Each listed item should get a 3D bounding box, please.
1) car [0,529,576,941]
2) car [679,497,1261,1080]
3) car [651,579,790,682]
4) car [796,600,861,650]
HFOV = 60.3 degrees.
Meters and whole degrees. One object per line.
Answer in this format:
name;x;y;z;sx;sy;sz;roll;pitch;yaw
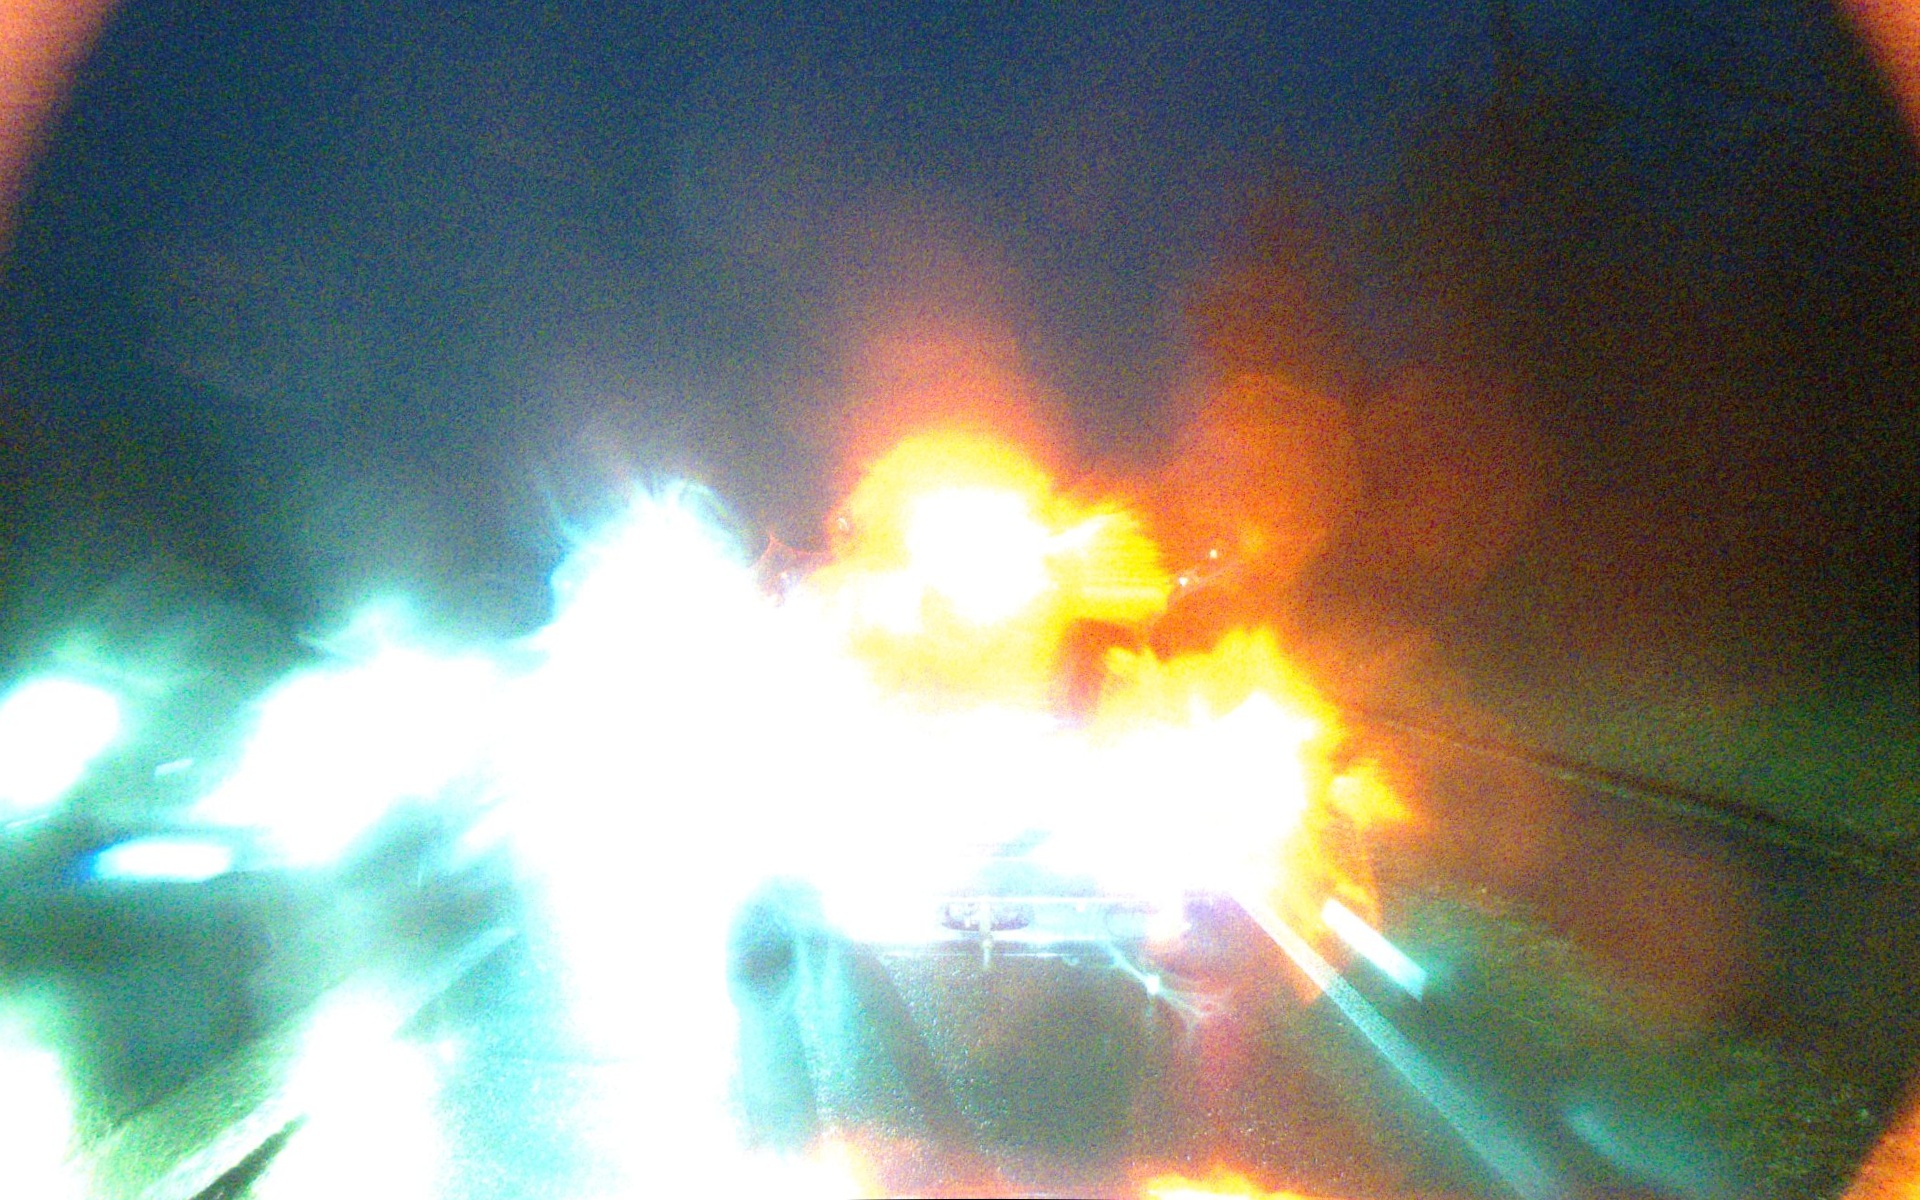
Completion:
car;-3.436;0.545;8.905;1.912;1.685;4.122;-1;0;-2
car;0.022;0.578;7.001;1.739;1.742;3.999;1;0;0
car;-3.939;0.451;27.836;1.800;1.573;4.256;1;1;-2
car;-4.341;0.812;55.036;1.865;1.495;4.273;2;0;-2
